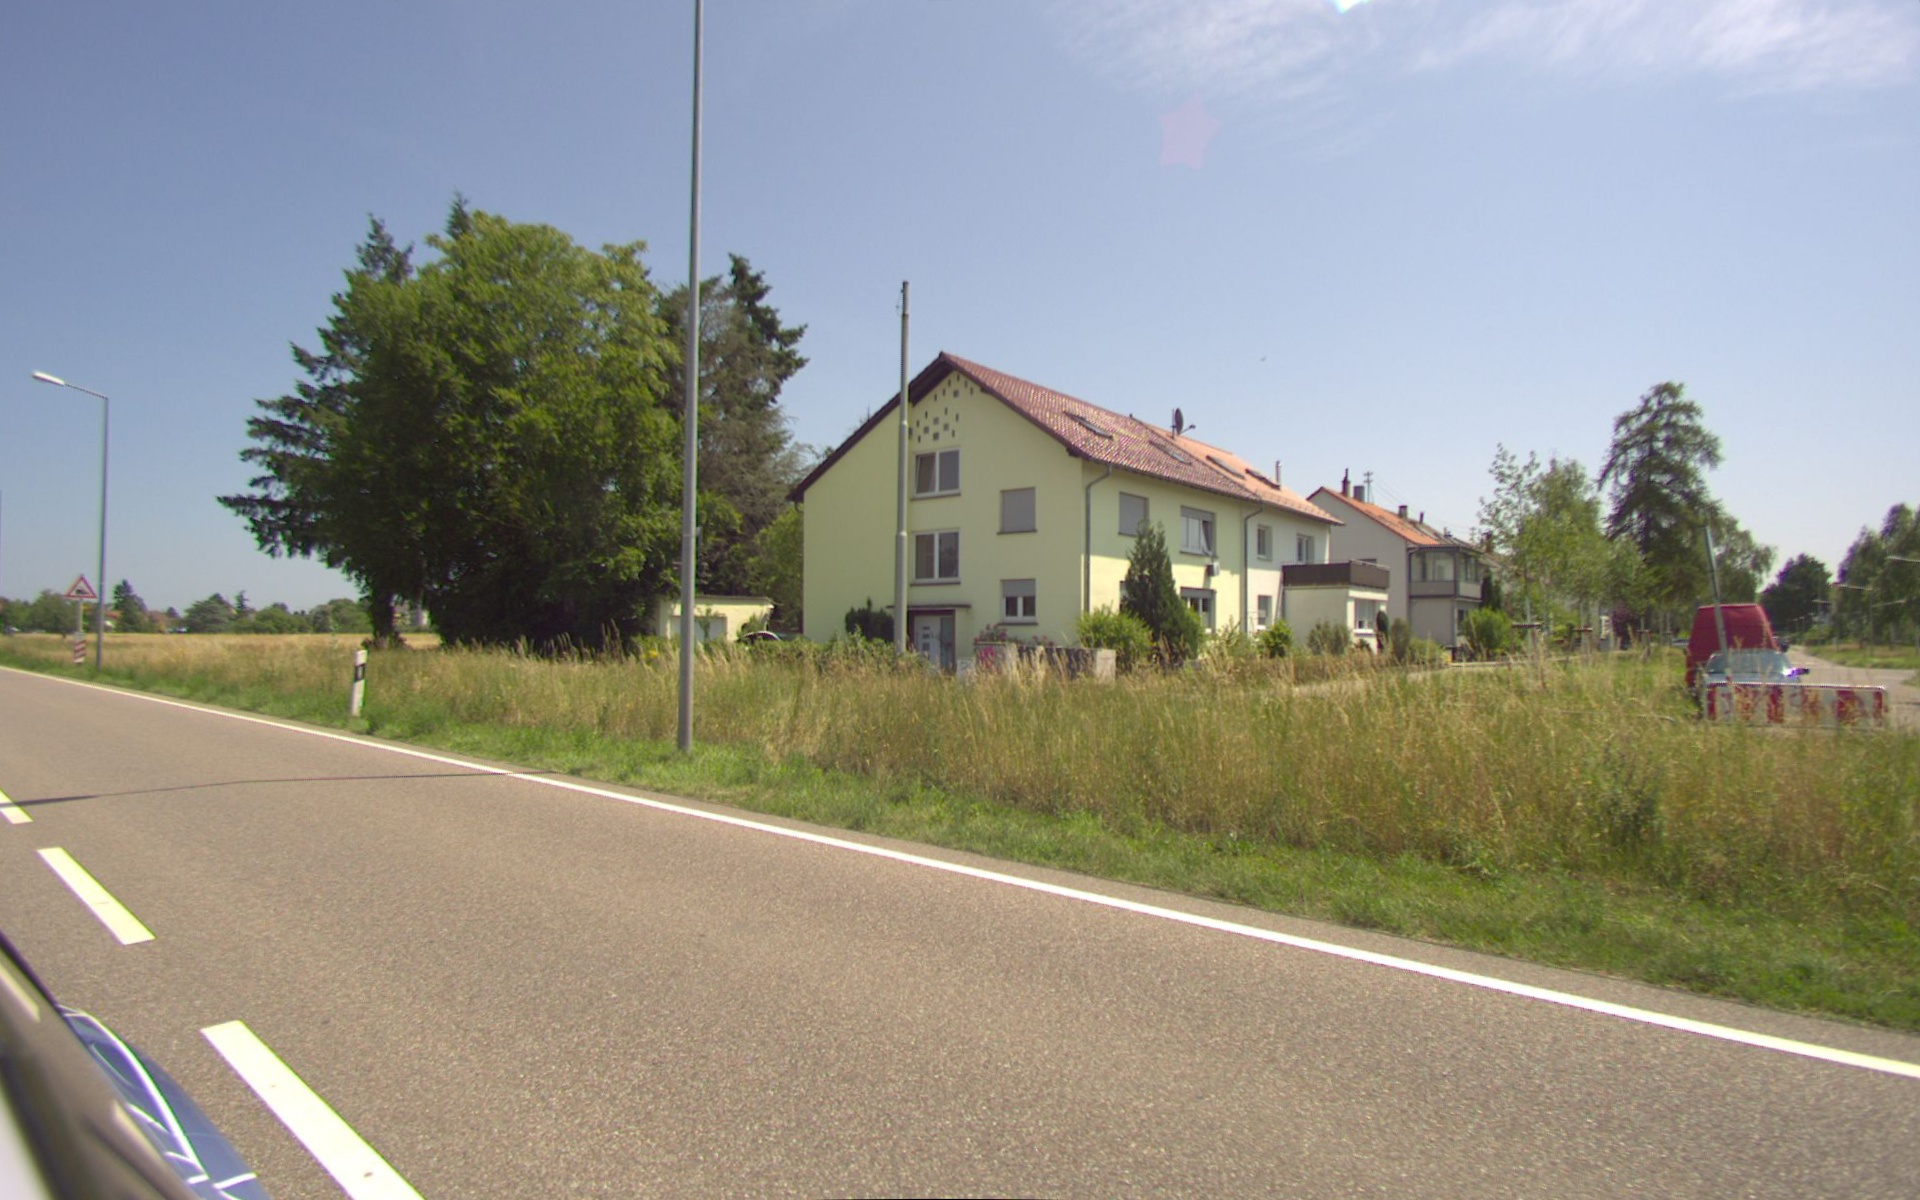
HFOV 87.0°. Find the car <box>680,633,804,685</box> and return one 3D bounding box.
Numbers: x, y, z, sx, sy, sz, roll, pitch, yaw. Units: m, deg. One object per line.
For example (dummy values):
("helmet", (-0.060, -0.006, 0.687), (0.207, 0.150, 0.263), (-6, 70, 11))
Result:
("car", (-6.939, 1.829, 32.003), (4.184, 1.503, 1.688), (-2, -1, 41))

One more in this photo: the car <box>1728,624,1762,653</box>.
("car", (58.435, 2.842, 75.343), (1.866, 1.985, 4.430), (-2, -1, 38))

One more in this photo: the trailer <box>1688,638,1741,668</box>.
("trailer", (35.692, 2.466, 47.836), (1.866, 1.234, 4.429), (-2, -1, 38))

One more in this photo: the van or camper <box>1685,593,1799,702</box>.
("van or camper", (19.194, 1.080, 24.918), (1.997, 2.406, 4.709), (-2, -1, 37))

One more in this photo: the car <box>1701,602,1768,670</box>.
("car", (29.273, 1.310, 38.239), (1.866, 2.418, 3.949), (-2, -1, 38))

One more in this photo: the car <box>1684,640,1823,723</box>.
("car", (15.923, 1.557, 20.413), (1.997, 1.364, 3.949), (-2, -1, 37))
